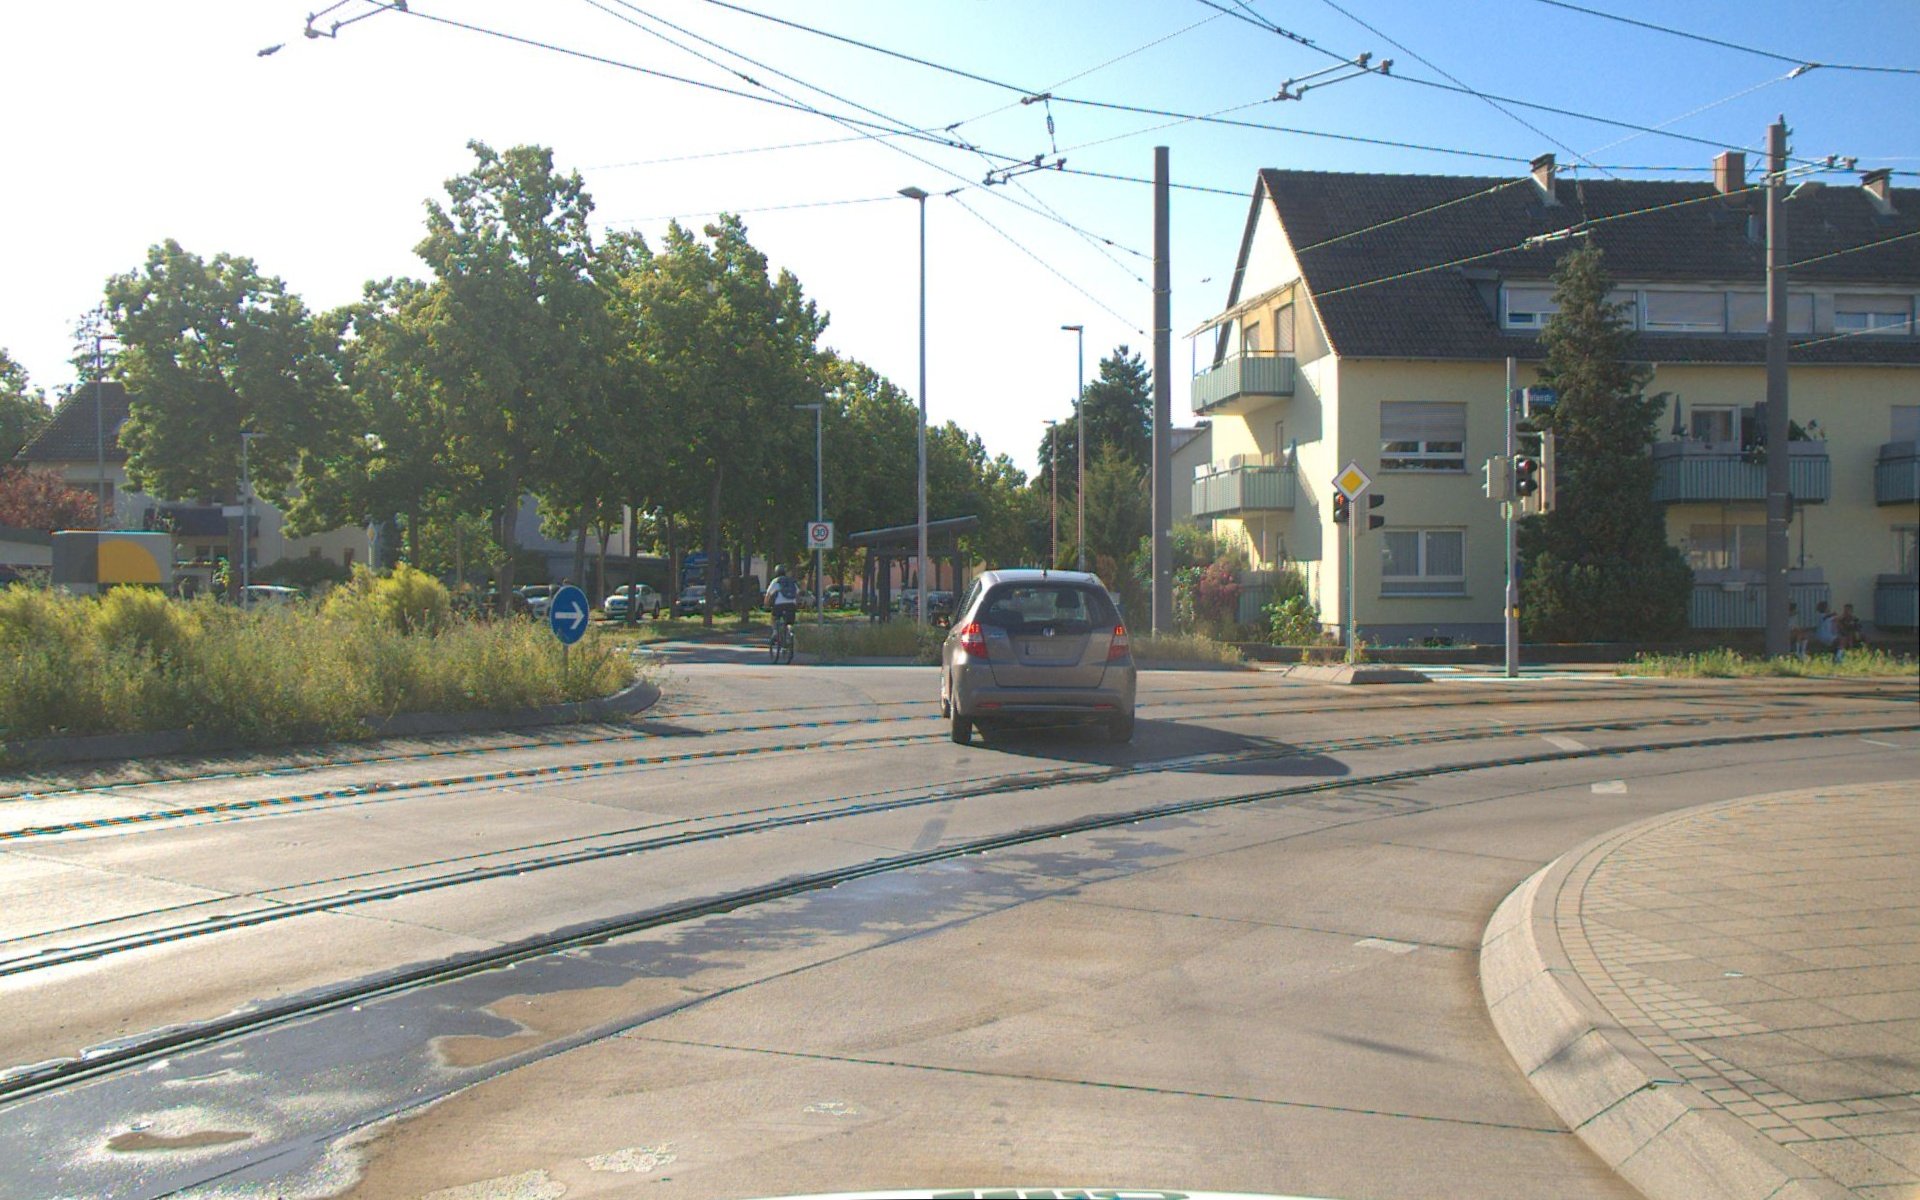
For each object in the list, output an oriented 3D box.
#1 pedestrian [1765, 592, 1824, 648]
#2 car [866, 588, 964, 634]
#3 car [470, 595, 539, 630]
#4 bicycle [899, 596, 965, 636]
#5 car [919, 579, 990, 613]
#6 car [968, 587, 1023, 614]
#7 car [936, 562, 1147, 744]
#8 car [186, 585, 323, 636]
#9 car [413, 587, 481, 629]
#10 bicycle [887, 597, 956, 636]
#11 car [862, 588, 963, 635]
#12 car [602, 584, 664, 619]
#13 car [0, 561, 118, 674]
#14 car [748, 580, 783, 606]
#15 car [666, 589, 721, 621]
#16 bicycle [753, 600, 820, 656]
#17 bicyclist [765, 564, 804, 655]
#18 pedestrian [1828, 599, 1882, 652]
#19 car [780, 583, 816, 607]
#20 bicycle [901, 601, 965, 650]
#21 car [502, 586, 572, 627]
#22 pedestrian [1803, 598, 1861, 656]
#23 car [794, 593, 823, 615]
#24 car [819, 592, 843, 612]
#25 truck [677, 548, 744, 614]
[{"bbox_3d":[16.174,0.380,32.054,0.673,1.065,0.818,0,0,-8],"label":"pedestrian"},{"bbox_3d":[-1.613,0.390,60.295,3.444,1.560,1.578,1,0,1],"label":"car"},{"bbox_3d":[-18.840,0.511,68.541,1.922,1.347,3.998,1,0,-3],"label":"car"},{"bbox_3d":[-0.778,0.439,46.013,1.804,1.045,0.688,1,0,-3],"label":"bicycle"},{"bbox_3d":[-0.254,-0.198,82.420,3.444,1.560,1.578,1,0,1],"label":"car"},{"bbox_3d":[2.176,0.030,100.774,3.290,1.560,1.523,1,0,0],"label":"car"},{"bbox_3d":[0.674,0.408,16.064,1.654,1.517,3.912,0,2,-3],"label":"car"},{"bbox_3d":[-25.030,0.357,58.787,3.953,1.724,2.001,1,0,2],"label":"car"},{"bbox_3d":[-19.303,0.276,62.369,1.765,1.490,3.796,1,0,-7],"label":"car"},{"bbox_3d":[-1.103,0.458,46.905,1.933,1.045,0.696,1,0,-3],"label":"bicycle"},{"bbox_3d":[-1.652,0.393,58.531,3.444,1.560,1.578,1,0,1],"label":"car"},{"bbox_3d":[-17.708,0.051,89.892,1.951,1.803,5.063,1,0,5],"label":"car"},{"bbox_3d":[-18.068,0.346,29.880,1.951,2.016,5.240,-2,-1,18],"label":"car"},{"bbox_3d":[-14.005,-0.506,119.370,1.952,1.729,4.218,1,0,1],"label":"car"},{"bbox_3d":[-13.954,0.238,86.870,1.792,1.608,4.443,1,0,5],"label":"car"},{"bbox_3d":[-3.393,0.562,32.231,0.758,1.055,1.519,1,-2,-29],"label":"bicycle"},{"bbox_3d":[-3.430,0.185,32.319,0.596,1.744,0.539,1,-4,-30],"label":"bicyclist"},{"bbox_3d":[17.574,0.501,32.483,0.587,1.023,0.717,1,0,-30],"label":"pedestrian"},{"bbox_3d":[-12.556,-0.384,128.277,1.951,1.729,4.221,1,0,5],"label":"car"},{"bbox_3d":[-0.703,0.655,43.218,1.632,1.229,0.688,1,0,-3],"label":"bicycle"},{"bbox_3d":[-18.700,0.280,73.351,1.952,1.729,4.218,1,0,1],"label":"car"},{"bbox_3d":[16.985,0.521,32.221,0.620,1.083,0.808,1,0,-39],"label":"pedestrian"},{"bbox_3d":[-12.415,0.322,135.660,1.952,1.729,4.218,1,0,1],"label":"car"},{"bbox_3d":[-10.986,0.148,140.950,1.613,1.677,3.569,1,0,1],"label":"car"},{"bbox_3d":[-16.140,-1.247,107.550,3.006,4.062,8.009,1,1,1],"label":"truck"}]
